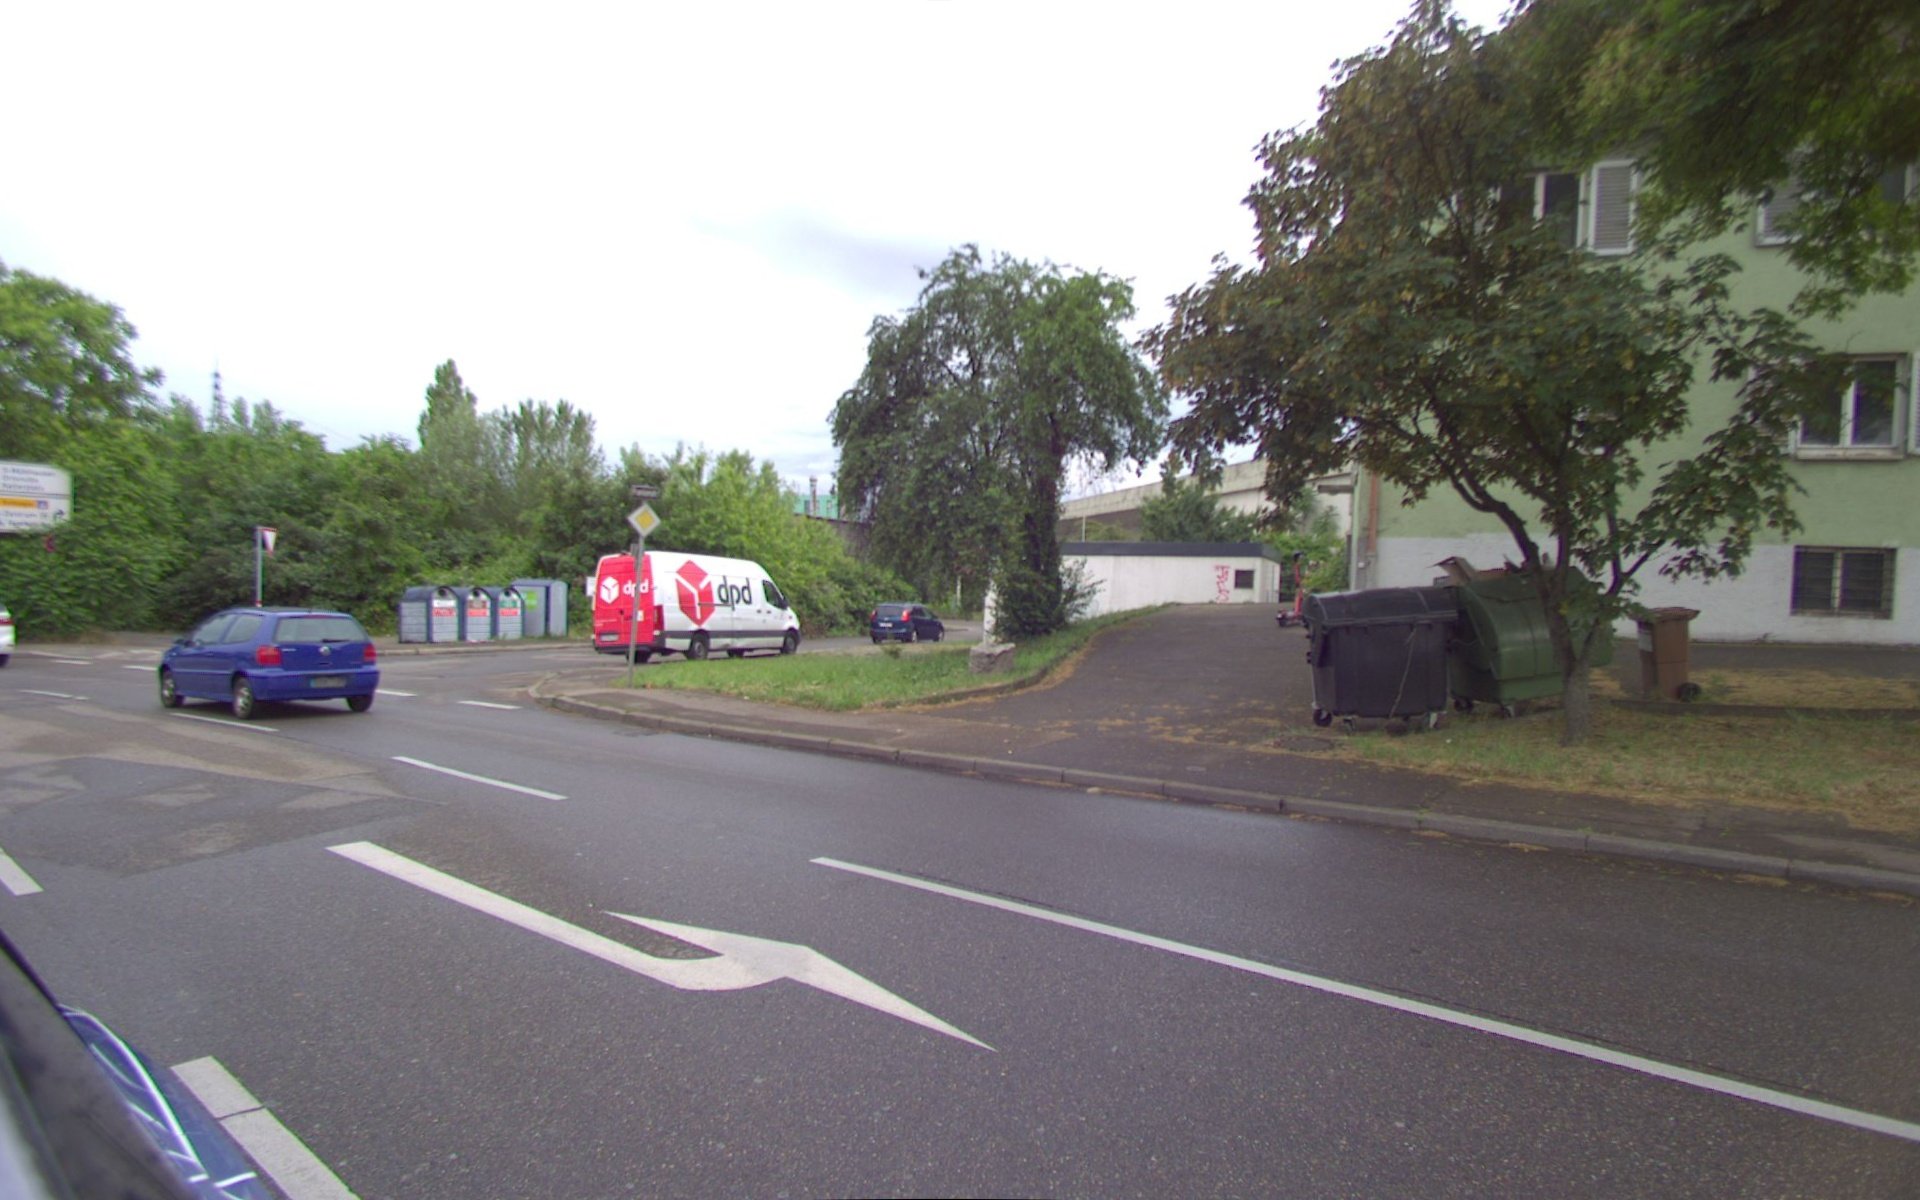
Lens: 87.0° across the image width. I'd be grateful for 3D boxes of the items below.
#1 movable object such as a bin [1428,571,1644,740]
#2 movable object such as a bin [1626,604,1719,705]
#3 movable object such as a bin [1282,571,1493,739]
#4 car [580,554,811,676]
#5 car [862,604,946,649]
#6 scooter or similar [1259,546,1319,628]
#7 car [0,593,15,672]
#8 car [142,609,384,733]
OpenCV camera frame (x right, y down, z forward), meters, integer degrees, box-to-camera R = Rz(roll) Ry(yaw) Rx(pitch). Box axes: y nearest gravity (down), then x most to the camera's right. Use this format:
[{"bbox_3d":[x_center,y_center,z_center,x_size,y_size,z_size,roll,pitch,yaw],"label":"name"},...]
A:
[{"bbox_3d":[5.752,0.511,10.191,1.440,1.448,1.102,-5,3,-6],"label":"movable object such as a bin"},{"bbox_3d":[7.253,0.532,10.305,0.723,0.964,0.551,1,0,41],"label":"movable object such as a bin"},{"bbox_3d":[4.296,0.502,10.300,1.440,1.448,1.296,-5,3,-6],"label":"movable object such as a bin"},{"bbox_3d":[-6.458,0.308,25.881,2.246,2.675,6.777,1,0,20],"label":"car"},{"bbox_3d":[-2.172,1.001,40.370,1.984,1.642,4.228,1,1,18],"label":"car"},{"bbox_3d":[5.574,-0.241,17.106,0.529,1.283,1.507,1,4,35],"label":"scooter or similar"},{"bbox_3d":[-21.633,0.614,20.782,4.310,1.590,1.822,2,1,26],"label":"car"},{"bbox_3d":[-9.772,0.882,14.118,3.688,1.436,1.584,1,0,35],"label":"car"}]
